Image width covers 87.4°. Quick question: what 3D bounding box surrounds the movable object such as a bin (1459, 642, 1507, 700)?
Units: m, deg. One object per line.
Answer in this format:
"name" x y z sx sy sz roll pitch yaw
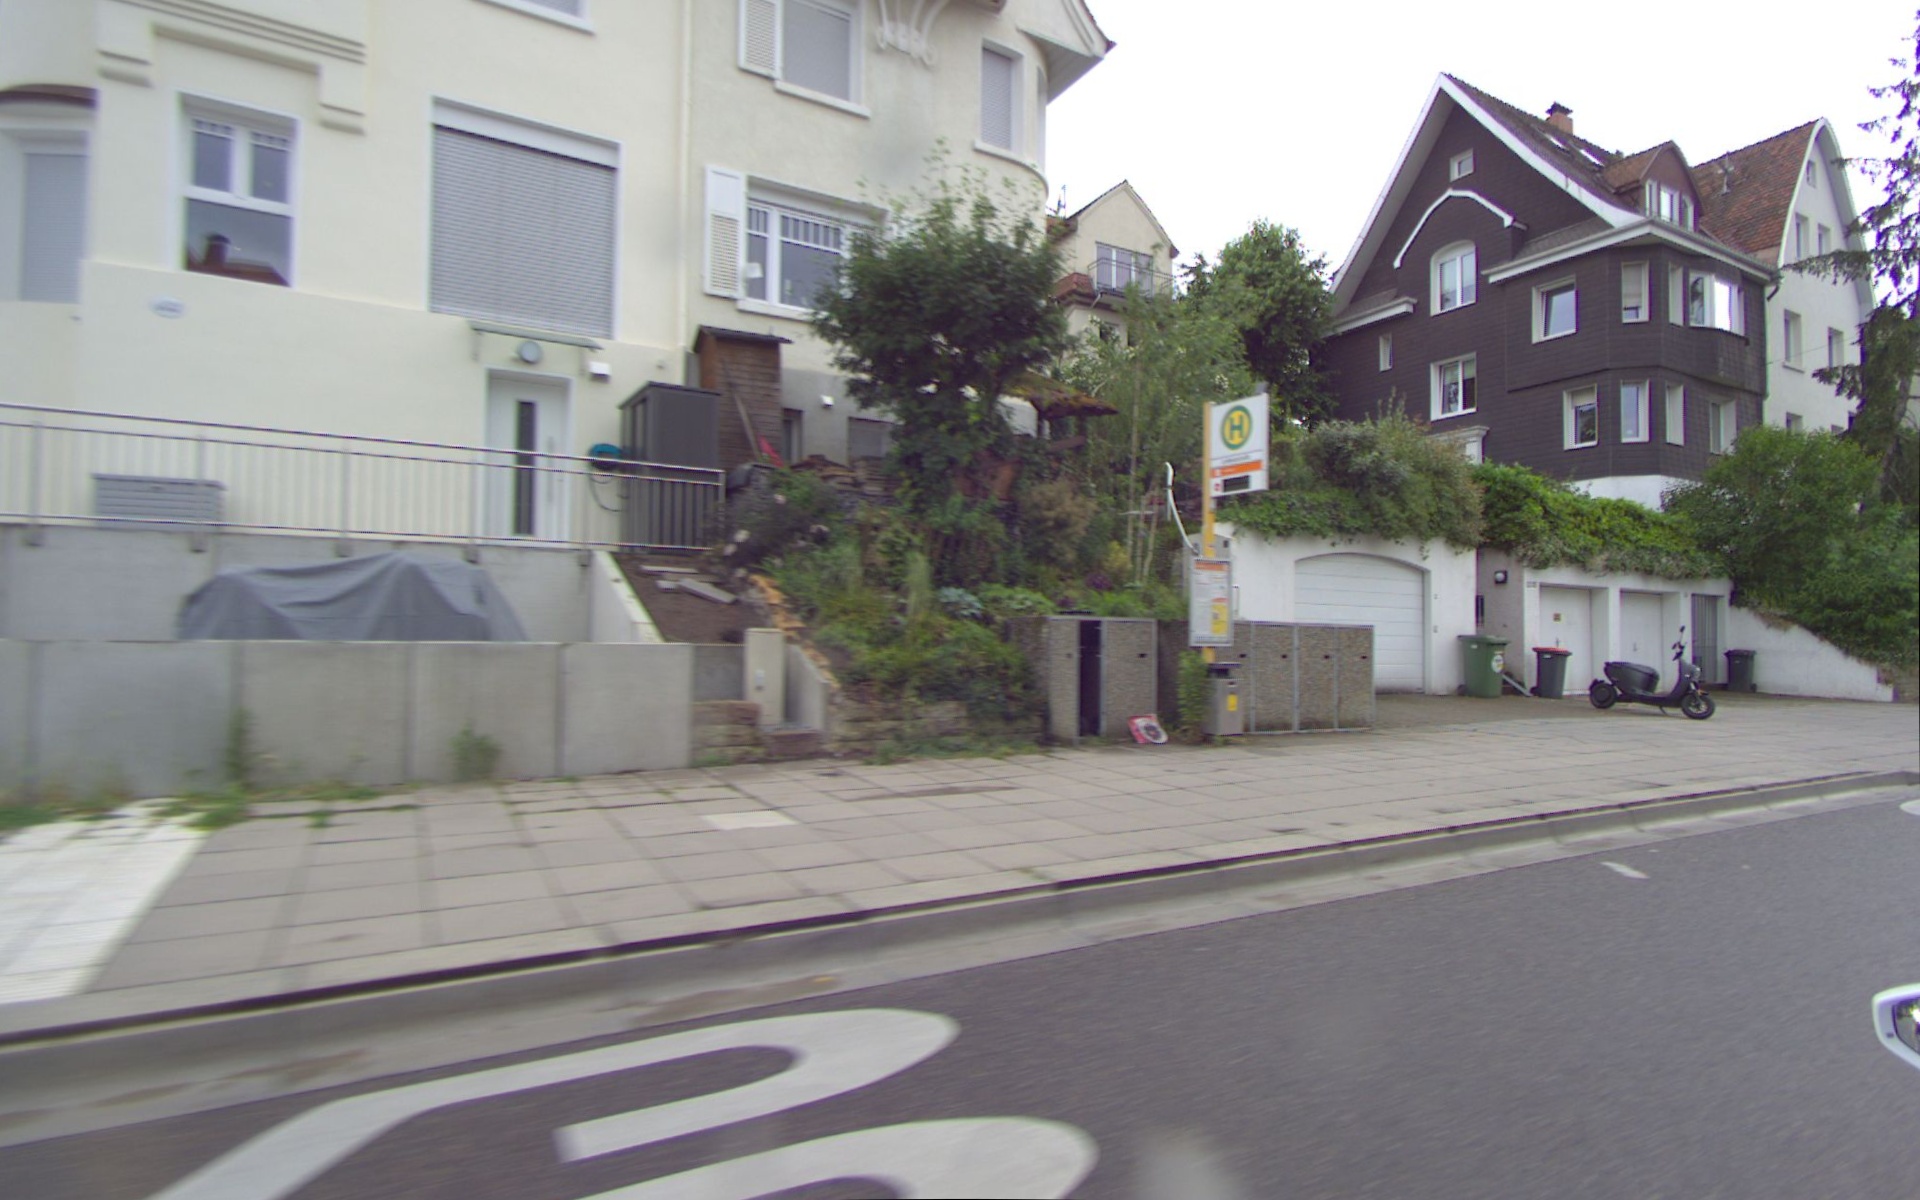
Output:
"movable object such as a bin" 9.143 1.229 17.567 0.508 0.966 0.570 0 0 -34

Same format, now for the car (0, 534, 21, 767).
"car" -8.255 0.359 5.741 3.958 1.639 1.755 0 0 -34

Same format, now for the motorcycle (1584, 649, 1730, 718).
"motorcycle" 10.876 1.277 15.747 0.596 0.915 1.785 1 1 -30

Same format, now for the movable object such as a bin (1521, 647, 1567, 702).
"movable object such as a bin" 10.743 1.356 18.490 0.508 0.966 0.570 0 0 -34

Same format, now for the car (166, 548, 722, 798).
"car" -4.290 0.503 8.748 3.958 1.719 1.755 0 0 -34

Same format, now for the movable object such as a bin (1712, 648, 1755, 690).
"movable object such as a bin" 17.303 1.532 22.475 0.609 0.901 0.488 -1 0 16
